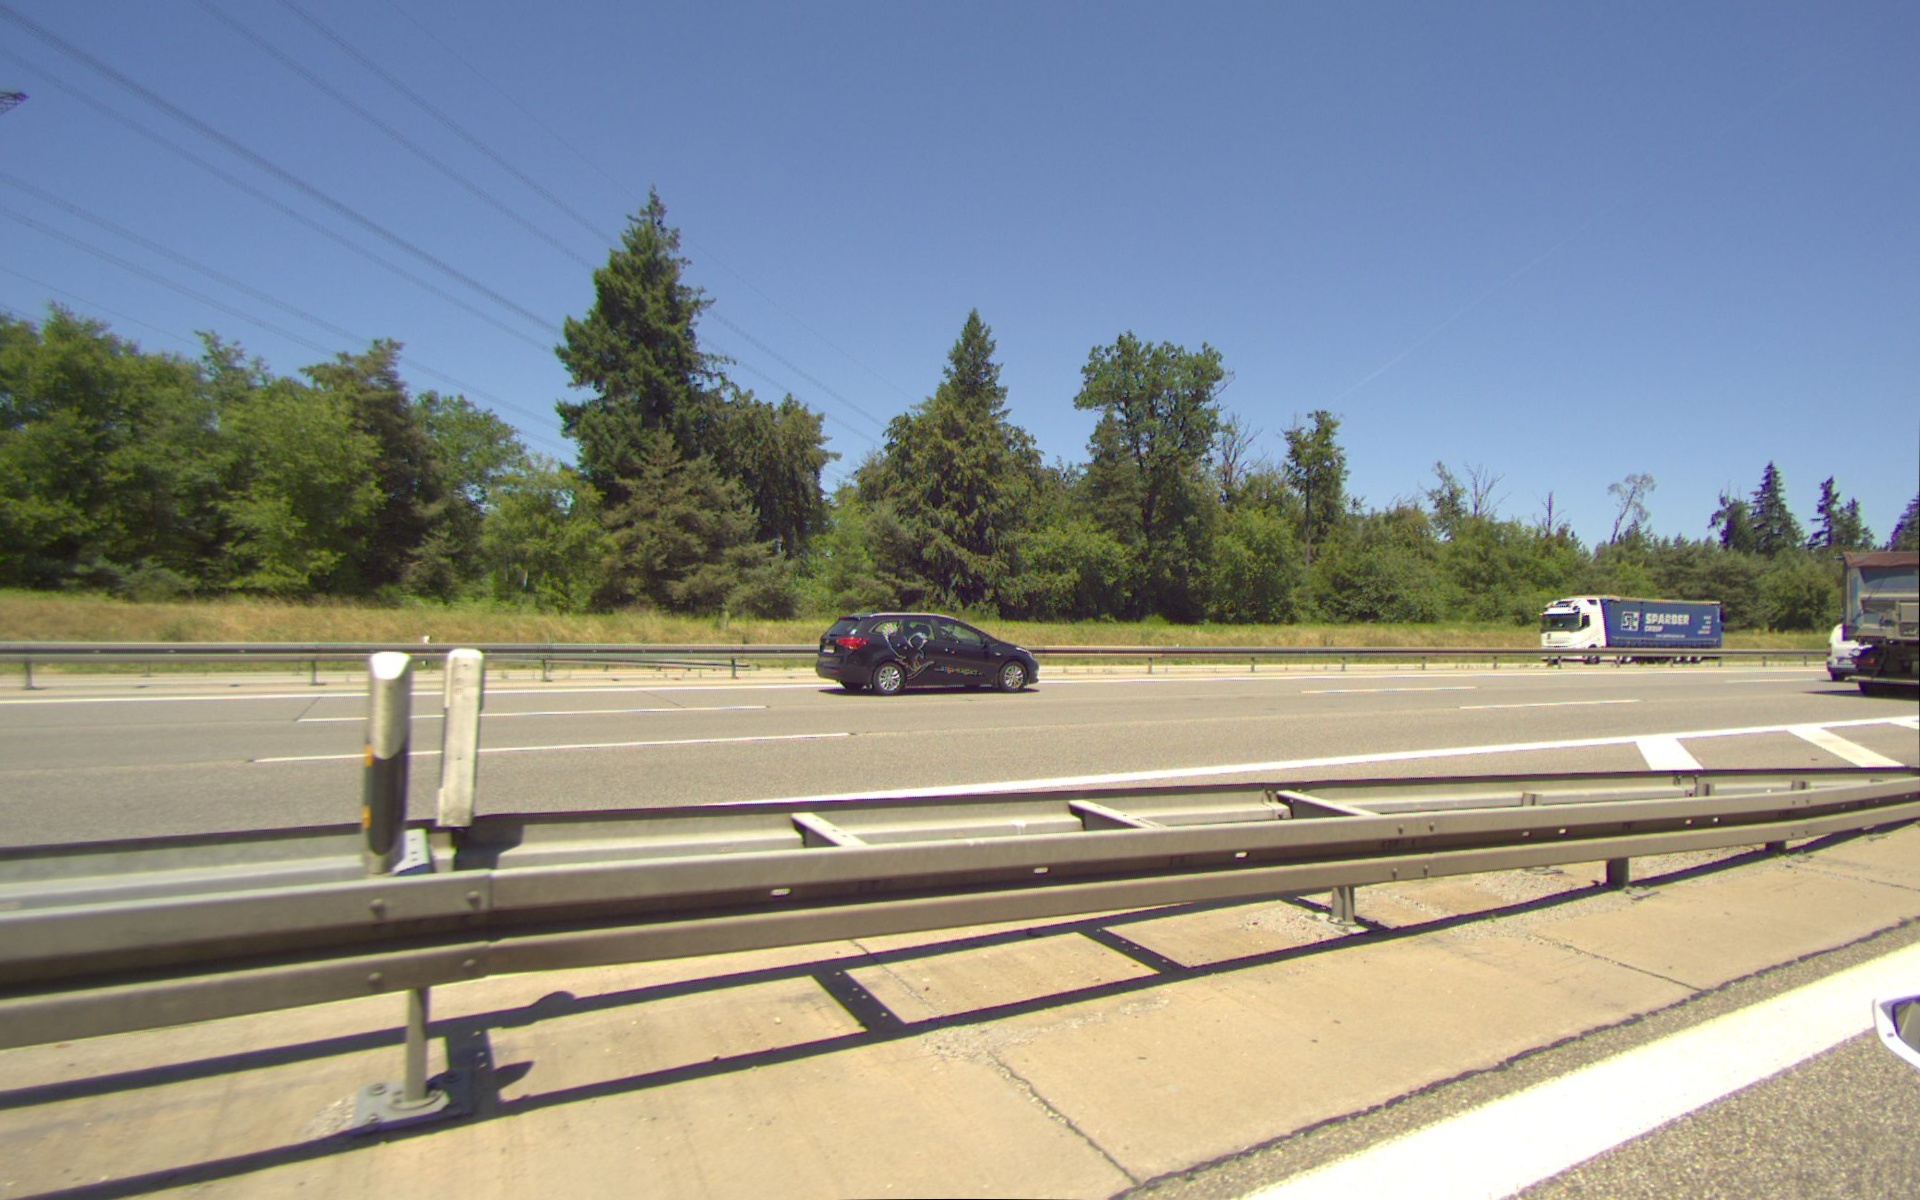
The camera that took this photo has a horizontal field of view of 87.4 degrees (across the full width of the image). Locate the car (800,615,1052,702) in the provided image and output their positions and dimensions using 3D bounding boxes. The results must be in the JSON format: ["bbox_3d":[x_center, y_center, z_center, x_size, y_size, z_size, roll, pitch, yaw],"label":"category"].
[{"bbox_3d":[-0.600,1.068,19.136,4.541,1.494,1.696,1,-1,-29],"label":"car"}]

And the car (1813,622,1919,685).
[{"bbox_3d":[29.077,1.632,31.663,4.659,1.858,1.824,1,-1,-29],"label":"car"}]

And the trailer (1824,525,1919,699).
[{"bbox_3d":[24.735,0.360,24.528,9.001,3.808,2.724,1,-1,-30],"label":"trailer"}]

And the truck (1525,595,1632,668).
[{"bbox_3d":[37.526,1.959,60.968,5.655,4.227,3.189,2,-3,-30],"label":"truck"}]

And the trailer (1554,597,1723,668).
[{"bbox_3d":[43.777,2.169,64.571,13.817,4.227,3.189,2,-3,-30],"label":"trailer"}]
